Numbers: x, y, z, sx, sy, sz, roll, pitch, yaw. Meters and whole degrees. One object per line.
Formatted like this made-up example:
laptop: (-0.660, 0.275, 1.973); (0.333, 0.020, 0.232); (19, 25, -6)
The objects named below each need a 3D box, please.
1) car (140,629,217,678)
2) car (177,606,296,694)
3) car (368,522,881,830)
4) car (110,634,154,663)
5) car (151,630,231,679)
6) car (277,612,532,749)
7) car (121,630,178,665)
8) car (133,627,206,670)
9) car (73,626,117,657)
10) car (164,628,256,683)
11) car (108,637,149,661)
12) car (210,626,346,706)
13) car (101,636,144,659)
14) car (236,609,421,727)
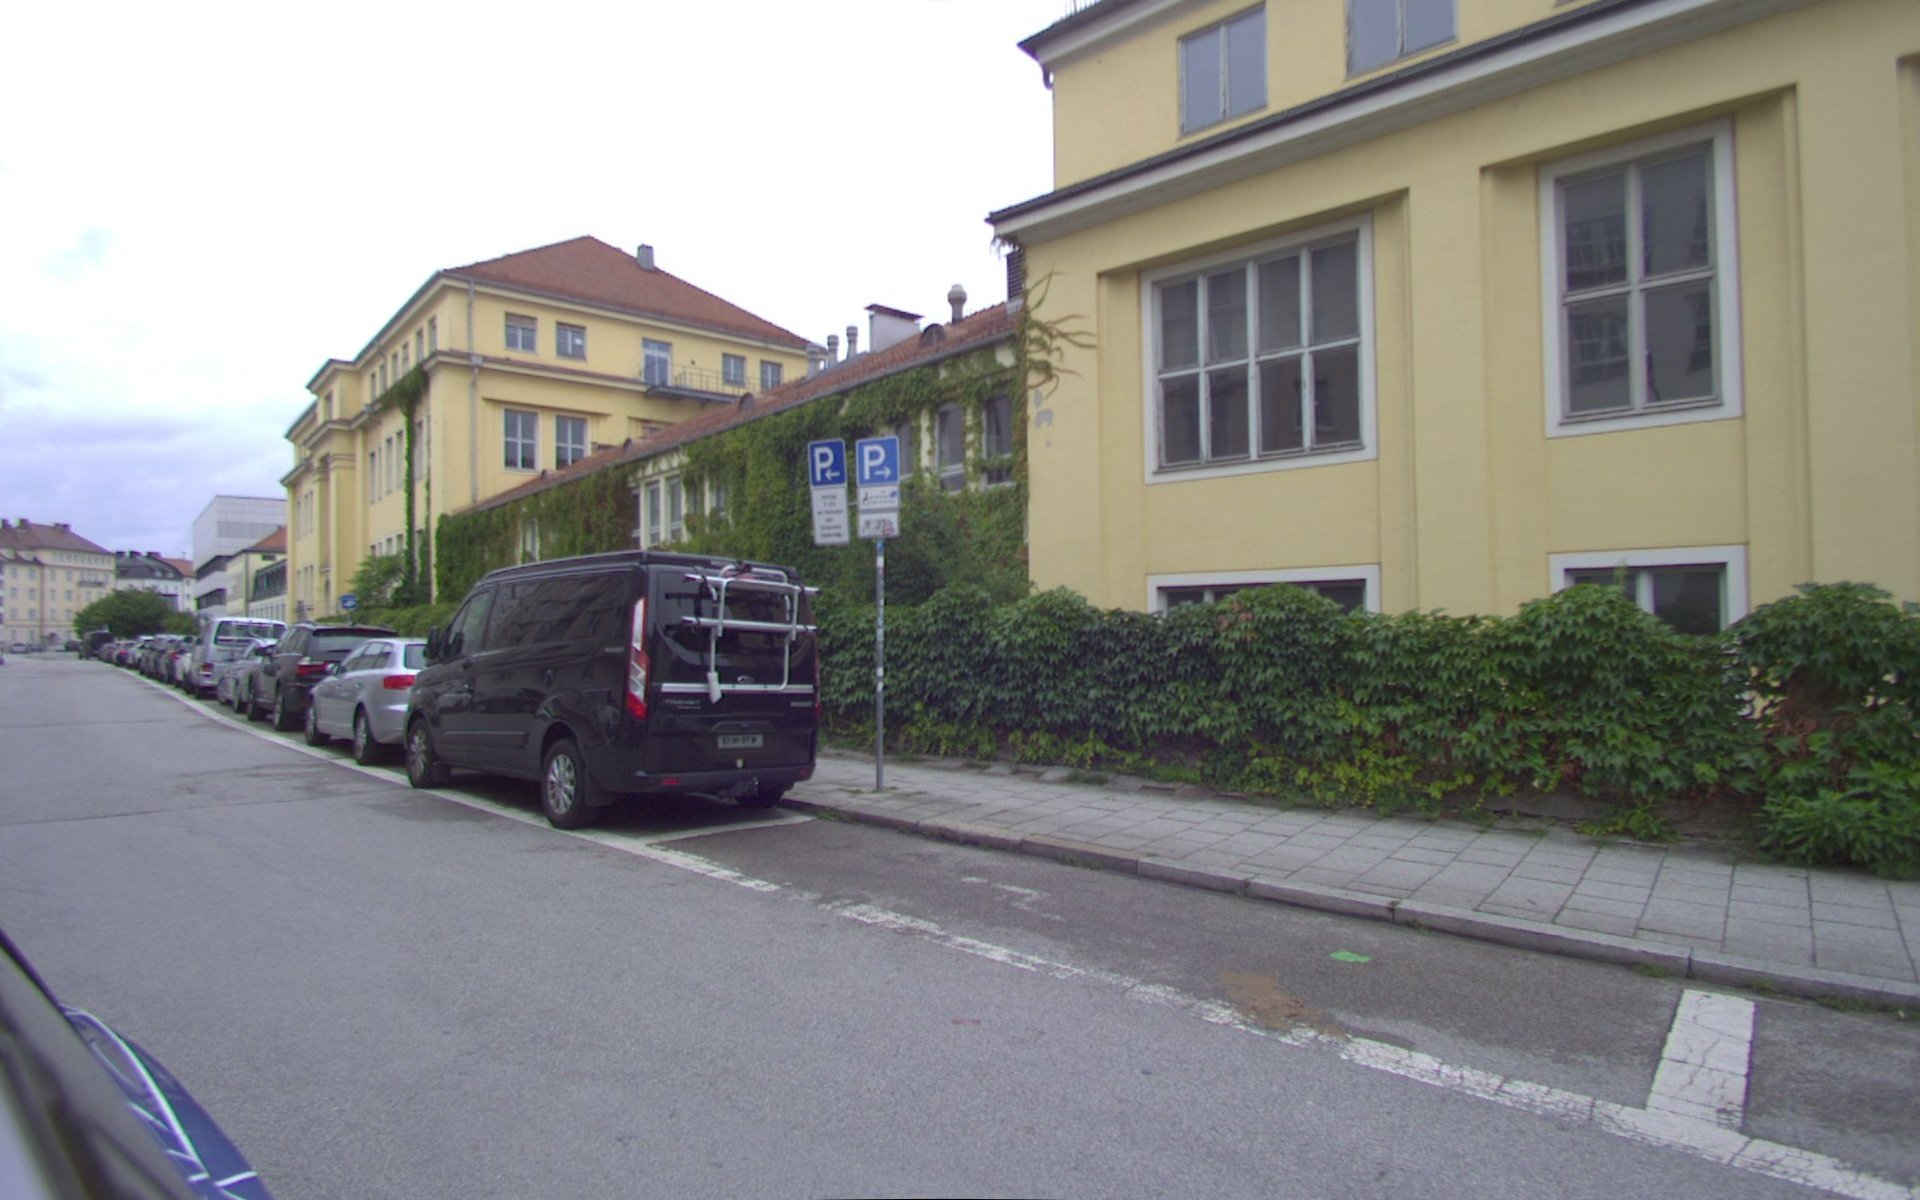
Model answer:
car: (-28.077, 1.898, 36.315); (1.703, 1.642, 4.470); (4, -4, -43)
car: (-17.584, 1.208, 24.514); (1.863, 1.904, 4.781); (5, -4, -40)
car: (-3.284, 0.585, 9.121); (5.350, 1.979, 2.050); (-1, -4, 43)
car: (-47.146, 2.764, 57.607); (1.678, 1.508, 4.154); (6, -5, -41)
car: (-24.730, 1.722, 32.496); (1.584, 1.441, 4.256); (5, -5, -42)
car: (-7.055, 0.960, 12.618); (1.674, 1.404, 4.505); (7, -6, -42)
car: (-40.259, 2.330, 50.242); (1.725, 1.646, 4.860); (3, -4, -44)
car: (-31.265, 1.910, 39.991); (1.768, 1.599, 4.823); (5, -5, -43)
car: (-83.988, 4.000, 98.243); (6.193, 2.876, 2.190); (-2, -5, 41)
car: (-21.223, 1.551, 28.578); (1.572, 1.452, 4.023); (4, -5, -43)
car: (-55.412, 3.254, 67.413); (1.772, 1.440, 4.669); (5, -5, -43)
car: (-13.836, 1.293, 20.410); (1.632, 1.425, 4.777); (5, -5, -41)
car: (-59.276, 3.362, 71.600); (1.935, 1.493, 4.533); (5, -5, -44)
car: (-10.325, 1.057, 16.394); (1.677, 1.655, 4.495); (5, -5, -42)
